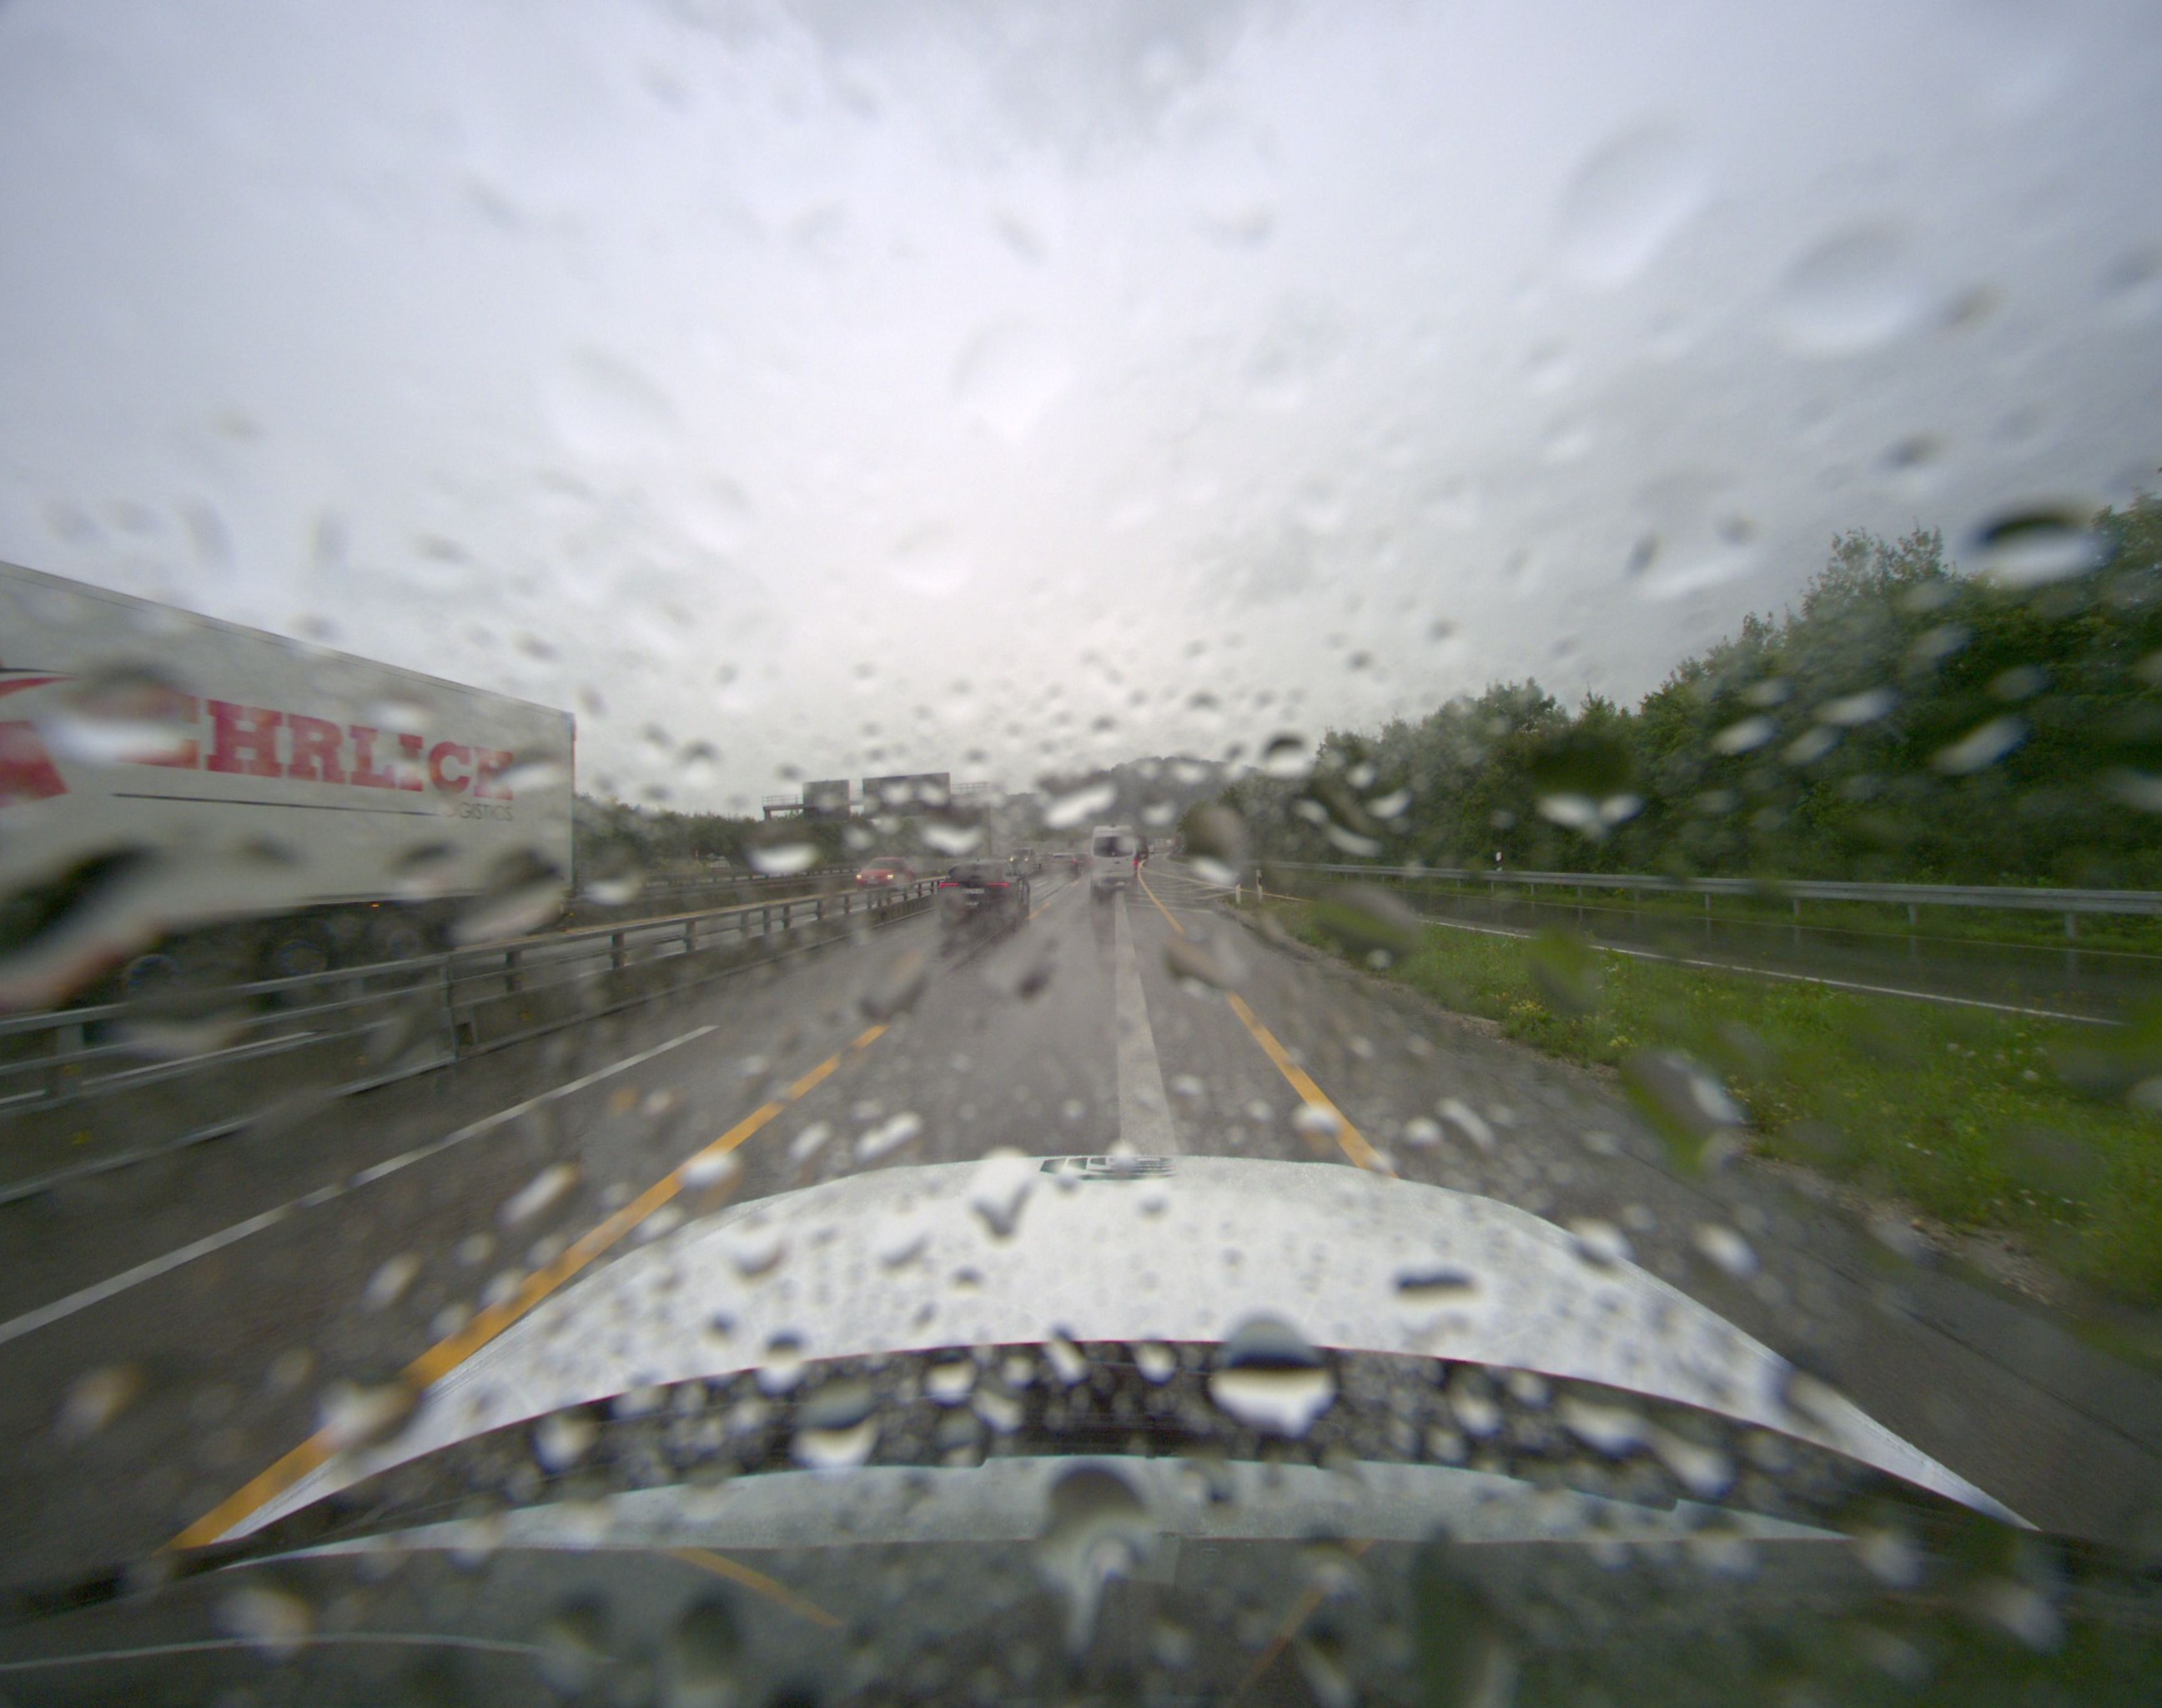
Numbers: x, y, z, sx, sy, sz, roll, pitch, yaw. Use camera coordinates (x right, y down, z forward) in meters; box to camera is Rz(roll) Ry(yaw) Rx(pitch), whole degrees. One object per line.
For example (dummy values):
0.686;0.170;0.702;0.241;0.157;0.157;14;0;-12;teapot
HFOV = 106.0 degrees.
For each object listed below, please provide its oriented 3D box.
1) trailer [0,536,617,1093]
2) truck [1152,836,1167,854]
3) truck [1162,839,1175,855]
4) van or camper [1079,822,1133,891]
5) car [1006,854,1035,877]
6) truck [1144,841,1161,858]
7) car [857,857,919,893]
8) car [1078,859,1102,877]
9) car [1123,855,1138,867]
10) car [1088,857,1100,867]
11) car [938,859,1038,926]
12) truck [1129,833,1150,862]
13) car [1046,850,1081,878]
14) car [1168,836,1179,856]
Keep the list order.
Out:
-9.694;-0.262;7.569;2.881;4.286;12.901;-2;-1;2;trailer
21.348;-2.459;221.535;3.908;4.785;9.925;0;-1;7;truck
27.902;-2.252;259.767;3.908;4.785;9.925;0;-1;7;truck
1.118;0.126;34.858;2.130;2.721;4.651;-1;0;3;van or camper
-5.548;1.016;75.148;1.900;2.014;5.833;0;-1;3;car
15.958;-0.898;181.994;3.307;3.762;9.912;0;-1;2;truck
-8.420;0.891;35.882;1.602;1.504;4.219;0;-1;2;car
0.783;1.237;71.415;1.844;1.500;4.004;-1;0;4;car
5.596;0.813;91.587;1.381;1.256;3.120;-1;0;-2;car
1.550;0.917;96.438;1.258;1.078;3.256;-1;0;2;car
-2.159;0.860;20.215;1.932;1.427;4.759;0;0;0;car
9.959;-0.954;139.570;3.307;4.785;9.912;0;-1;2;truck
-1.037;0.637;51.382;1.859;1.659;3.992;-1;0;3;car
19.962;-1.781;175.679;2.048;4.192;6.754;-1;0;5;car
